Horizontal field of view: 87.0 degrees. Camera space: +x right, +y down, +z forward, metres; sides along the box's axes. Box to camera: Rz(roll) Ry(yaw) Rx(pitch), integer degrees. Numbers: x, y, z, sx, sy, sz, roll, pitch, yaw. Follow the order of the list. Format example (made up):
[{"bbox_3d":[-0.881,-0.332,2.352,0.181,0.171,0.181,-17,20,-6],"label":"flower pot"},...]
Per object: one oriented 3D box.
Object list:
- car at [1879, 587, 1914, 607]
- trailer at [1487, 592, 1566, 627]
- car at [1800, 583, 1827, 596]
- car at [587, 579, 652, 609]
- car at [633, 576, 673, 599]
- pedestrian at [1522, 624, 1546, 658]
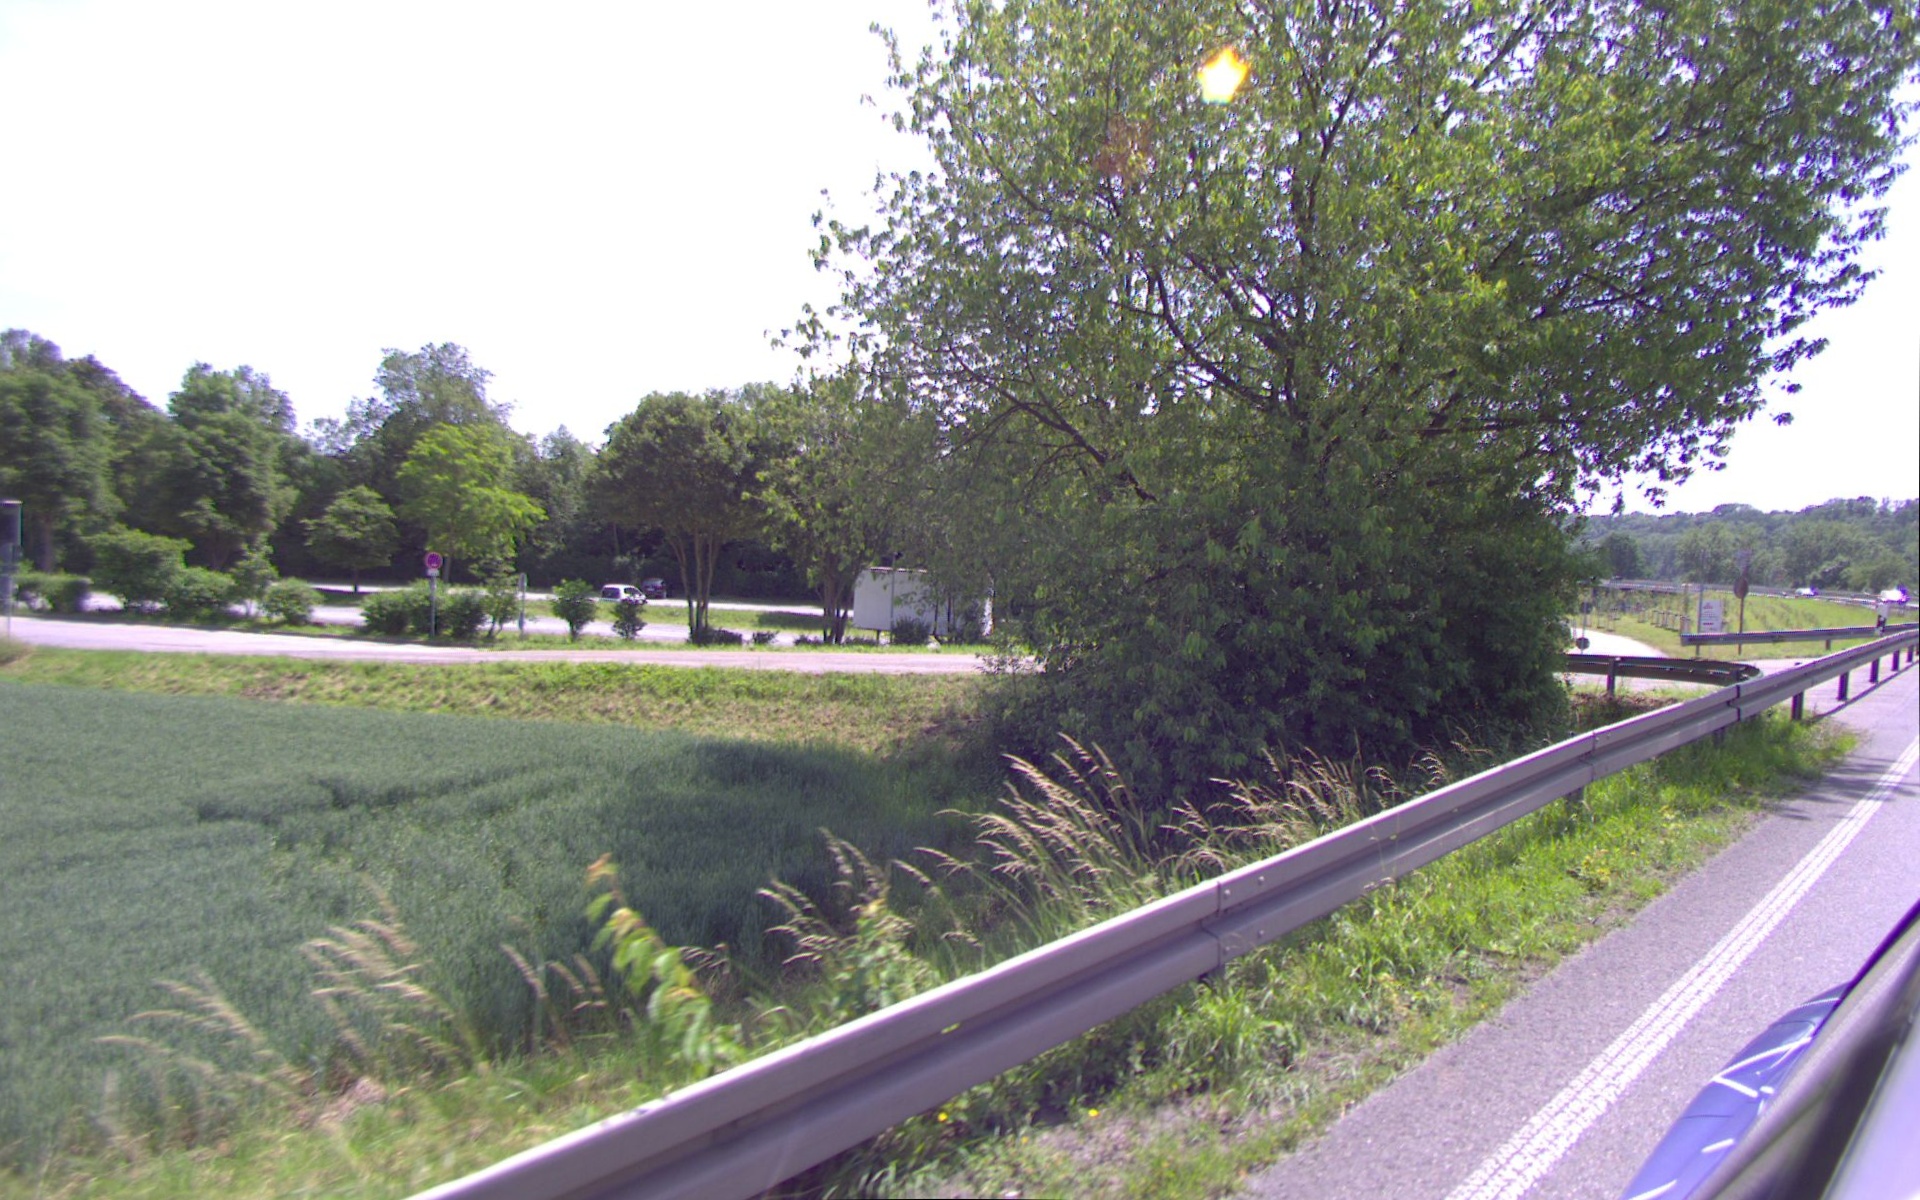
[{"bbox_3d":[87.930,-0.302,95.038,1.971,1.753,3.948,1,3,37],"label":"car"},{"bbox_3d":[60.787,0.950,109.041,2.679,3.369,11.883,0,1,4],"label":"trailer"},{"bbox_3d":[112.682,-1.382,133.705,1.964,1.622,3.961,1,3,29],"label":"car"},{"bbox_3d":[-20.874,-0.383,62.221,1.968,1.679,4.333,3,2,10],"label":"car"},{"bbox_3d":[-22.613,-0.965,74.730,1.864,1.509,4.172,3,2,-4],"label":"car"},{"bbox_3d":[32.176,2.283,56.706,0.884,1.833,0.945,5,3,42],"label":"pedestrian"}]
